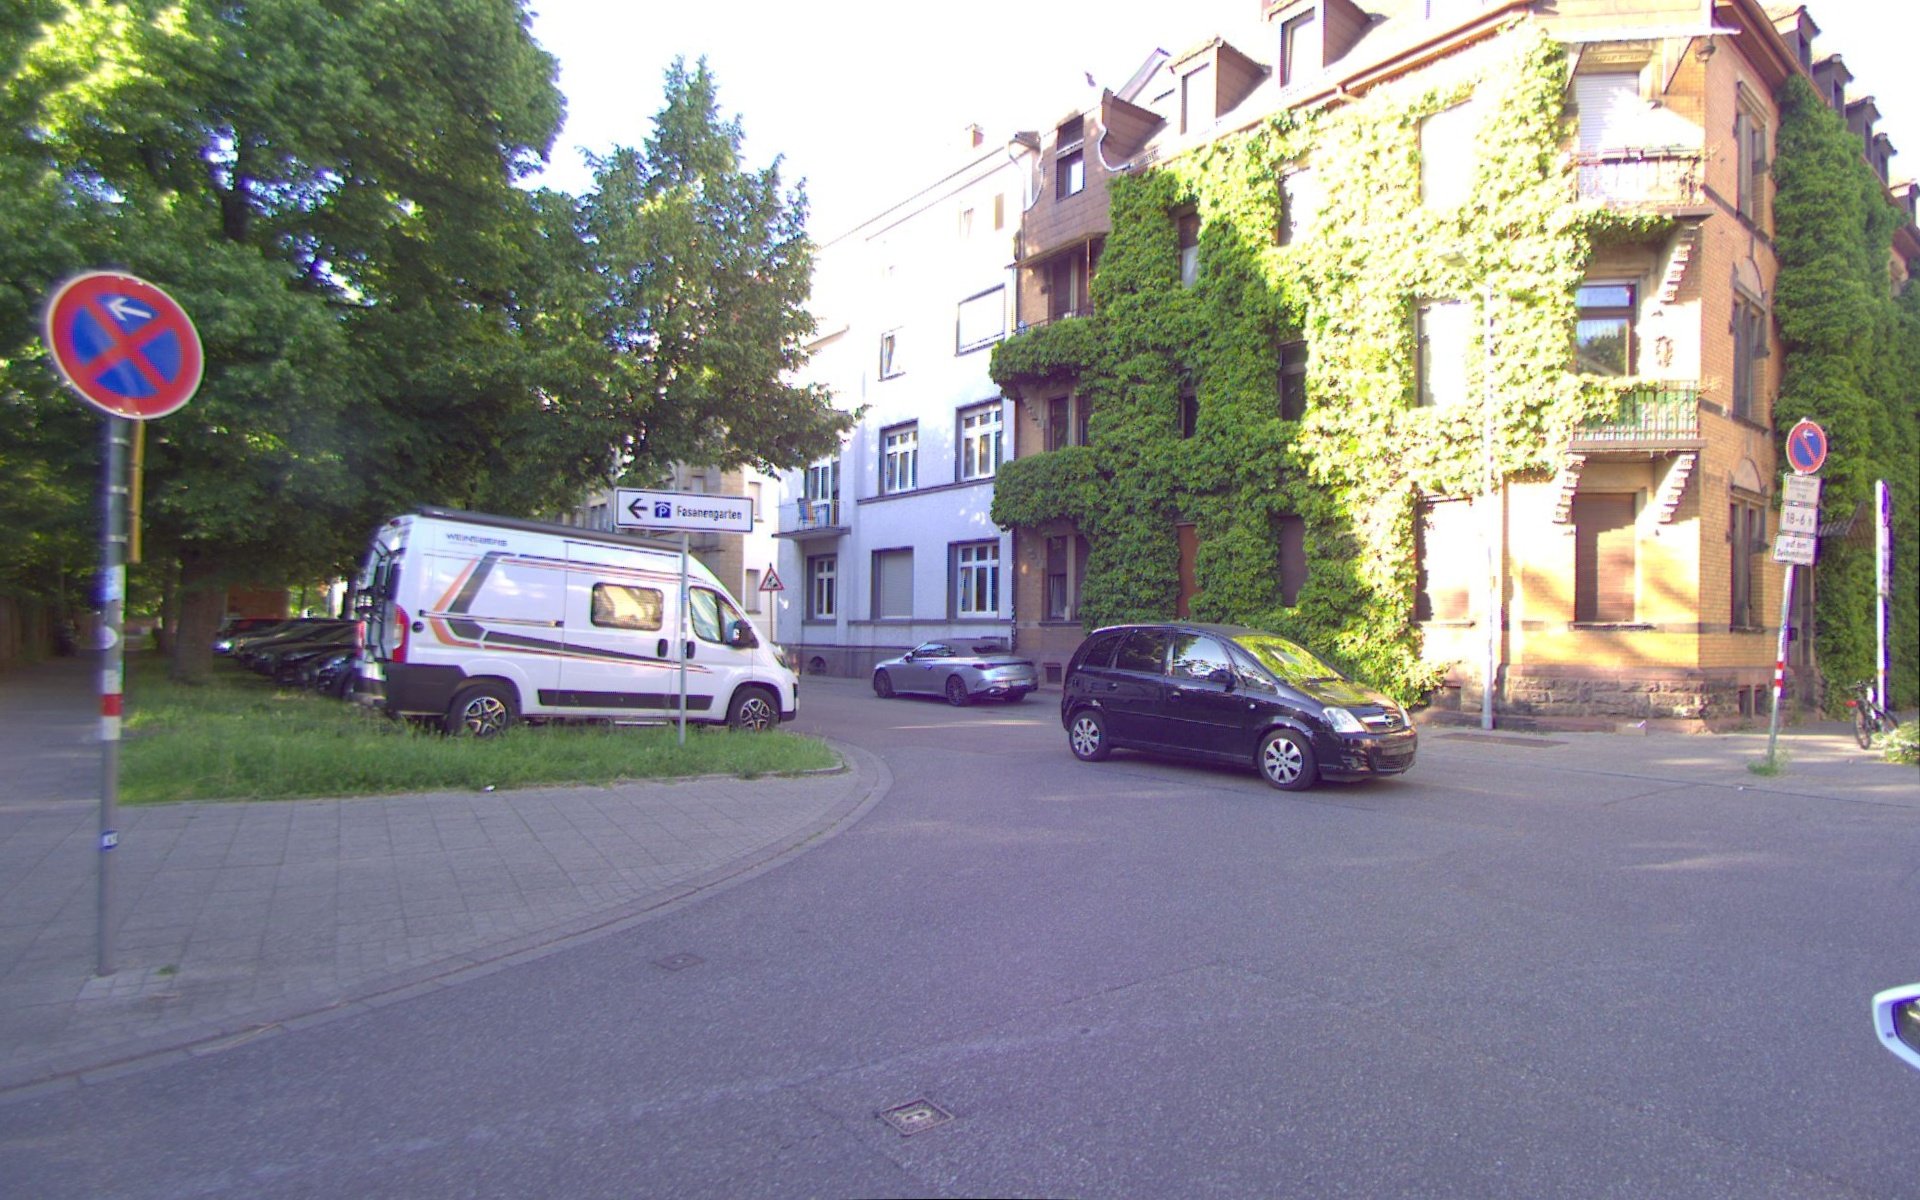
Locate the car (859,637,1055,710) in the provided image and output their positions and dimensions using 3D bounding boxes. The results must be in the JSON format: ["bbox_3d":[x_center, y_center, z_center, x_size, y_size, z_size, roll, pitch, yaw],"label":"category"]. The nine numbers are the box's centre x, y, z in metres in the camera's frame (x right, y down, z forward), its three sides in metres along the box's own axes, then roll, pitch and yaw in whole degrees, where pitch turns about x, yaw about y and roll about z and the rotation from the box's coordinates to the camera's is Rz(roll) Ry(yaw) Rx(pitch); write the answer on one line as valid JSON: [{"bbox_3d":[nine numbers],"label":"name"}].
[{"bbox_3d":[-0.193,1.598,23.124,1.867,1.423,4.869,0,-1,-40],"label":"car"}]

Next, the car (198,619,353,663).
[{"bbox_3d":[-21.587,1.295,31.738,3.851,1.273,1.764,3,-2,-41],"label":"car"}]

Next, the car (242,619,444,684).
[{"bbox_3d":[-14.705,1.216,24.017,3.851,1.395,1.955,3,-2,-41],"label":"car"}]

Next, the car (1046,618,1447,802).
[{"bbox_3d":[2.914,1.026,10.917,1.636,1.611,3.973,0,-2,-40],"label":"car"}]

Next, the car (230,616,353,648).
[{"bbox_3d":[-26.397,1.258,39.703,3.851,1.170,1.764,3,-2,-41],"label":"car"}]

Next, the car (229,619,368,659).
[{"bbox_3d":[-23.045,1.360,35.059,3.851,1.273,1.764,3,-2,-41],"label":"car"}]

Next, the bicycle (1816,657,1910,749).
[{"bbox_3d":[13.265,1.482,14.753,1.584,1.285,0.560,2,-2,-30],"label":"bicycle"}]

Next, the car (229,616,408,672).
[{"bbox_3d":[-17.404,1.189,27.319,3.851,1.395,1.955,3,-2,-41],"label":"car"}]

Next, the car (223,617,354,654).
[{"bbox_3d":[-24.904,1.329,37.308,3.851,1.273,1.764,3,-2,-41],"label":"car"}]

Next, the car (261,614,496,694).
[{"bbox_3d":[-11.772,1.069,20.438,3.851,1.461,1.955,2,-2,-41],"label":"car"}]

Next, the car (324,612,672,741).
[{"bbox_3d":[-6.663,1.042,14.738,4.266,1.596,1.955,3,-1,-41],"label":"car"}]

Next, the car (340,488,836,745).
[{"bbox_3d":[-4.575,0.266,13.022,5.588,2.648,2.212,3,-1,-41],"label":"car"}]

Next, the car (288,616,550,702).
[{"bbox_3d":[-9.766,1.033,18.259,3.851,1.359,1.955,3,-2,-41],"label":"car"}]
